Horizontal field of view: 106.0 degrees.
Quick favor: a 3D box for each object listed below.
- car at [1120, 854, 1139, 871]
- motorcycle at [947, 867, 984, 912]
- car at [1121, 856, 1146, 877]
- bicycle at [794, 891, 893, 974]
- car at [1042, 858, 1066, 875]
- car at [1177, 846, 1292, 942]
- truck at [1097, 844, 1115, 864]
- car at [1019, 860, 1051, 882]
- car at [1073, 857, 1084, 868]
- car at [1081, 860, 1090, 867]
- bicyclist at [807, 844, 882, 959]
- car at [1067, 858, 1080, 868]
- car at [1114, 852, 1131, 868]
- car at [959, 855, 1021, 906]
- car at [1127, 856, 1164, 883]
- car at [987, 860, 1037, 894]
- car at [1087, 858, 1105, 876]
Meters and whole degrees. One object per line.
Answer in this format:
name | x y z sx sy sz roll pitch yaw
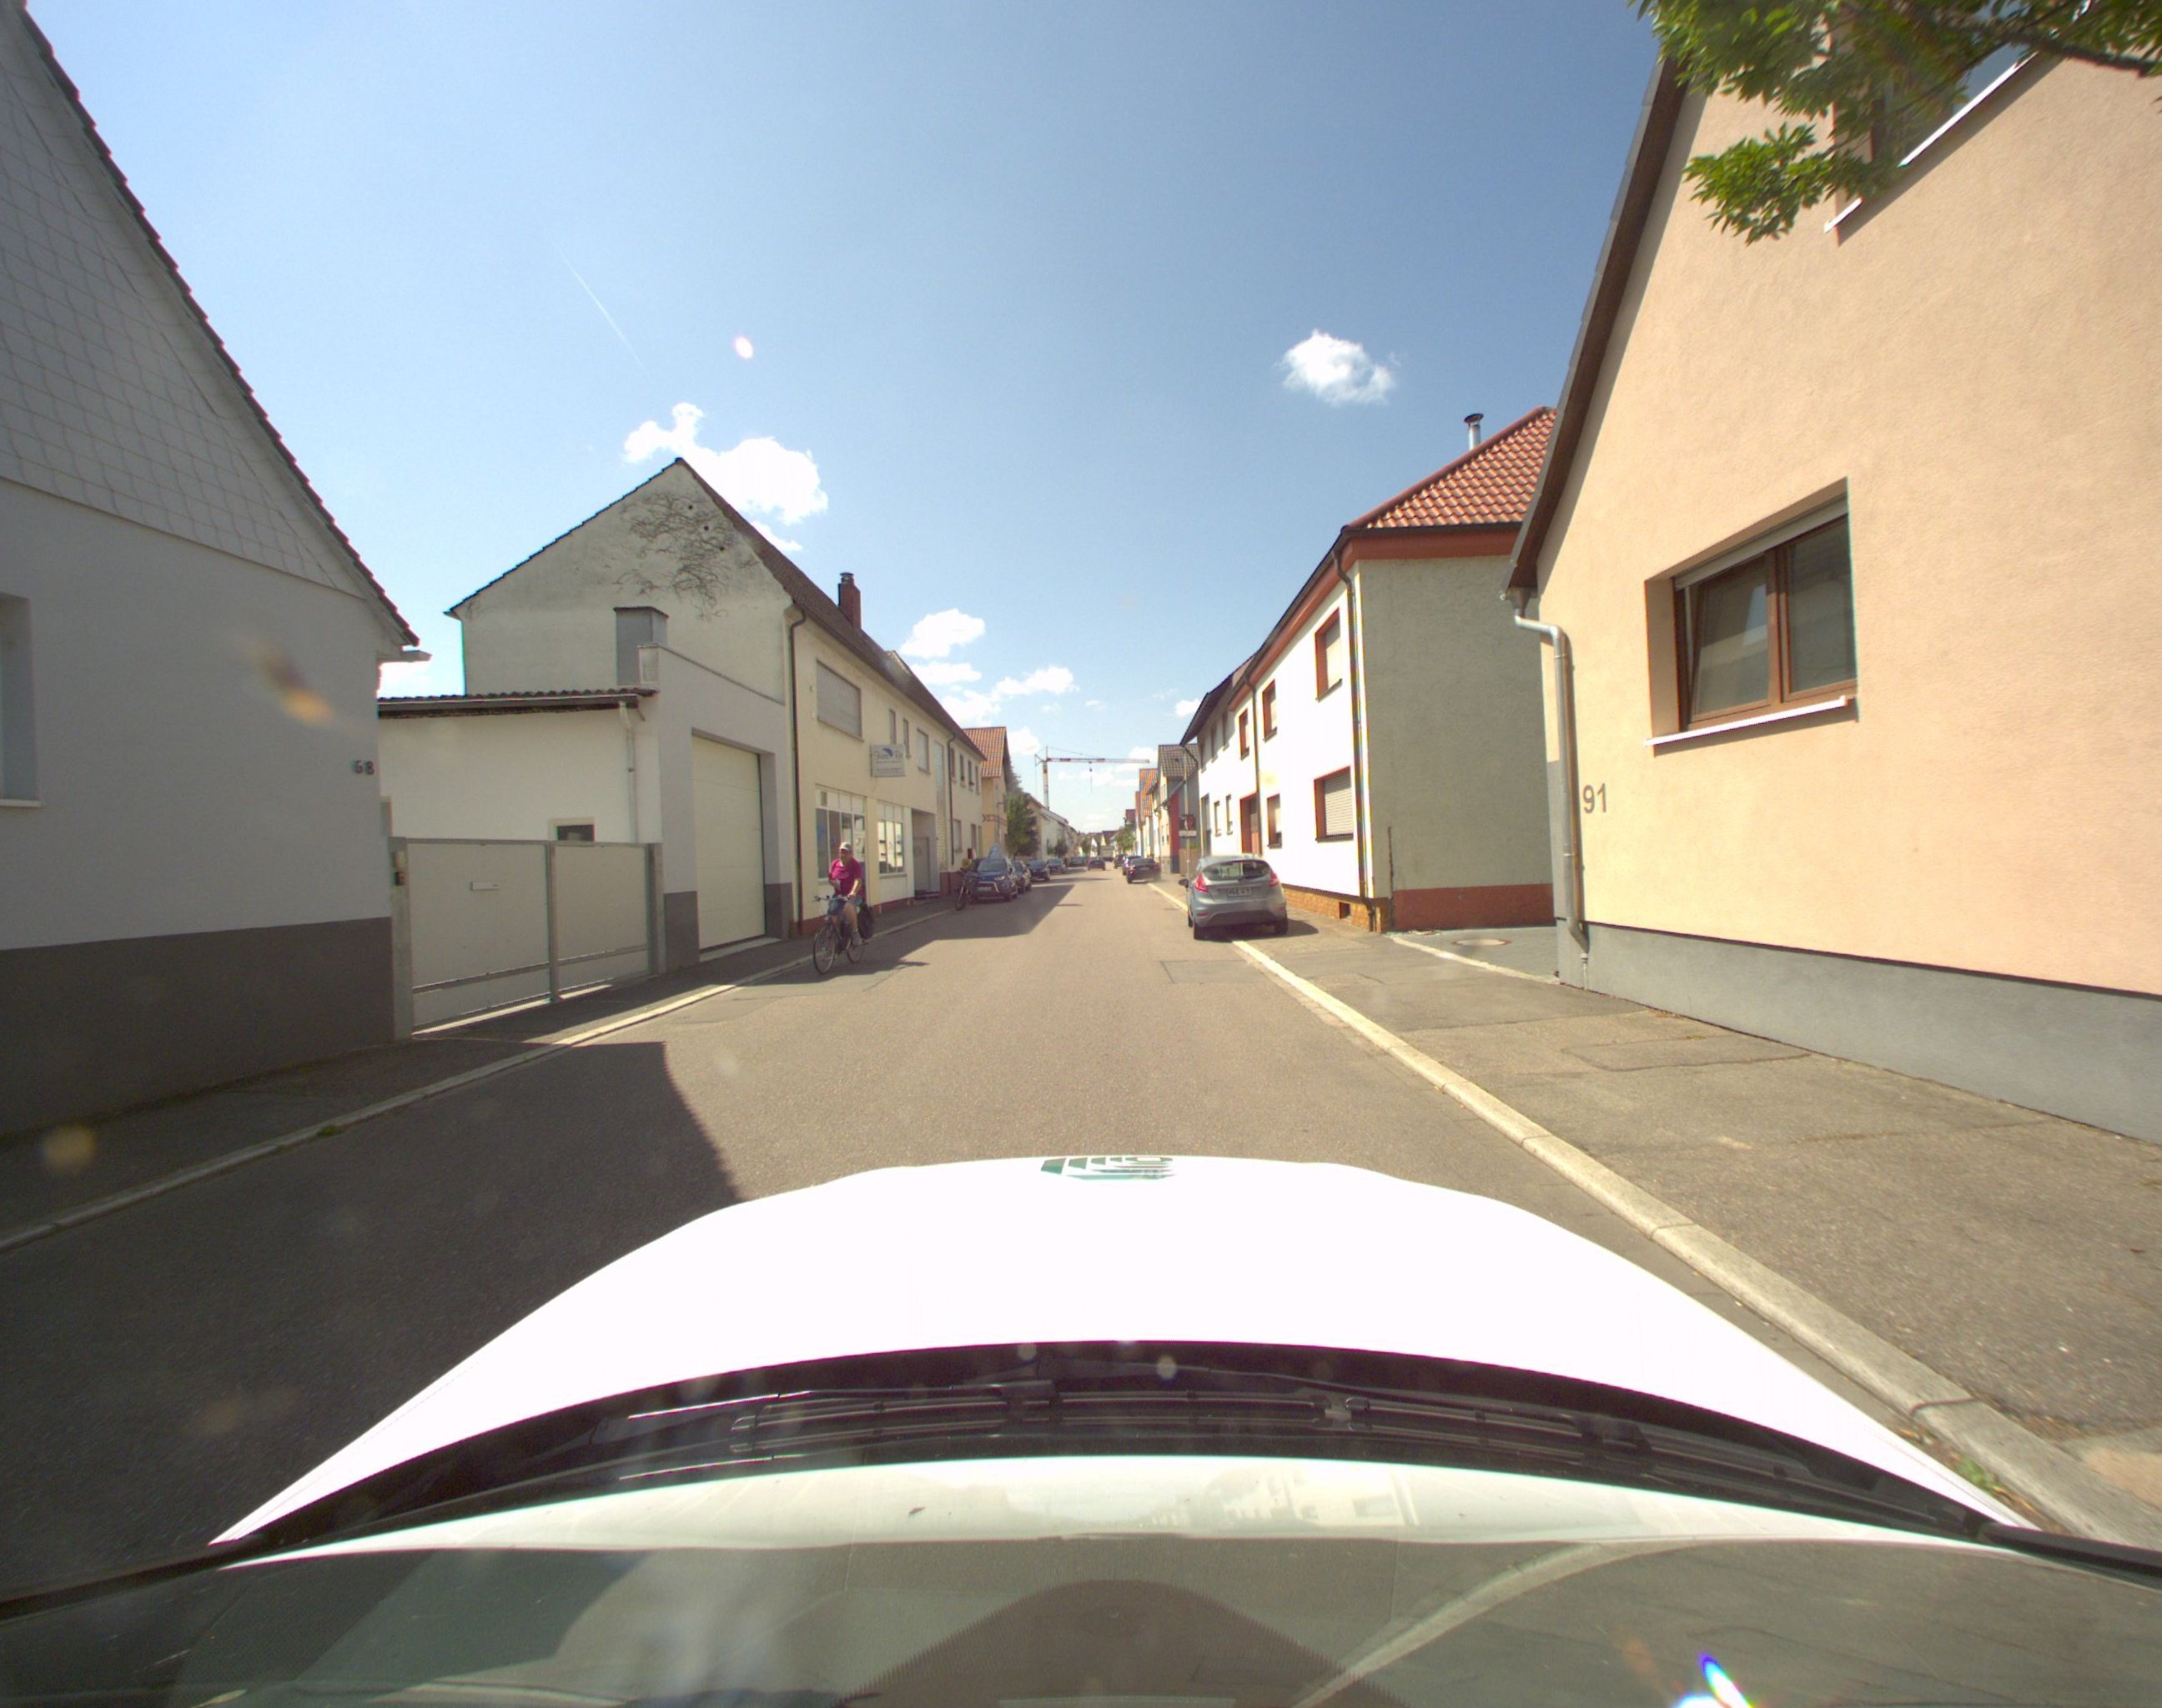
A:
car | 4.802 0.831 80.895 1.611 1.495 3.973 -5 0 1
motorcycle | -3.665 1.101 26.032 0.805 1.312 2.106 -2 0 1
car | 3.923 0.919 60.868 1.682 1.422 3.658 -3 0 1
bicycle | -3.496 1.128 12.191 0.739 1.047 1.942 -2 0 5
car | -2.459 1.152 75.728 1.761 1.460 4.440 -2 0 3
car | 2.832 0.686 15.728 1.713 1.481 3.755 -6 -1 5
truck | 5.378 0.077 176.324 3.368 3.865 13.924 -3 -1 0
car | -3.046 1.129 54.721 1.755 1.374 4.067 -1 0 1
car | -0.437 1.339 132.054 1.647 1.609 4.061 -3 0 1
car | 0.858 1.965 171.404 1.716 1.555 4.174 -1 0 2
bicyclist | -3.513 0.679 12.179 0.743 1.637 0.958 -2 0 5
car | -1.171 1.357 125.089 1.752 1.525 4.290 -3 0 1
car | 4.728 0.691 93.172 1.723 1.717 4.274 -2 0 -1
car | -3.313 0.921 30.429 1.711 1.639 4.148 -4 0 0
car | 3.440 0.807 44.019 1.808 1.276 4.149 -2 0 2
car | -3.072 1.001 37.115 1.691 1.411 4.391 -2 0 2
car | 1.584 1.329 85.080 1.777 1.753 4.000 -3 -1 1
